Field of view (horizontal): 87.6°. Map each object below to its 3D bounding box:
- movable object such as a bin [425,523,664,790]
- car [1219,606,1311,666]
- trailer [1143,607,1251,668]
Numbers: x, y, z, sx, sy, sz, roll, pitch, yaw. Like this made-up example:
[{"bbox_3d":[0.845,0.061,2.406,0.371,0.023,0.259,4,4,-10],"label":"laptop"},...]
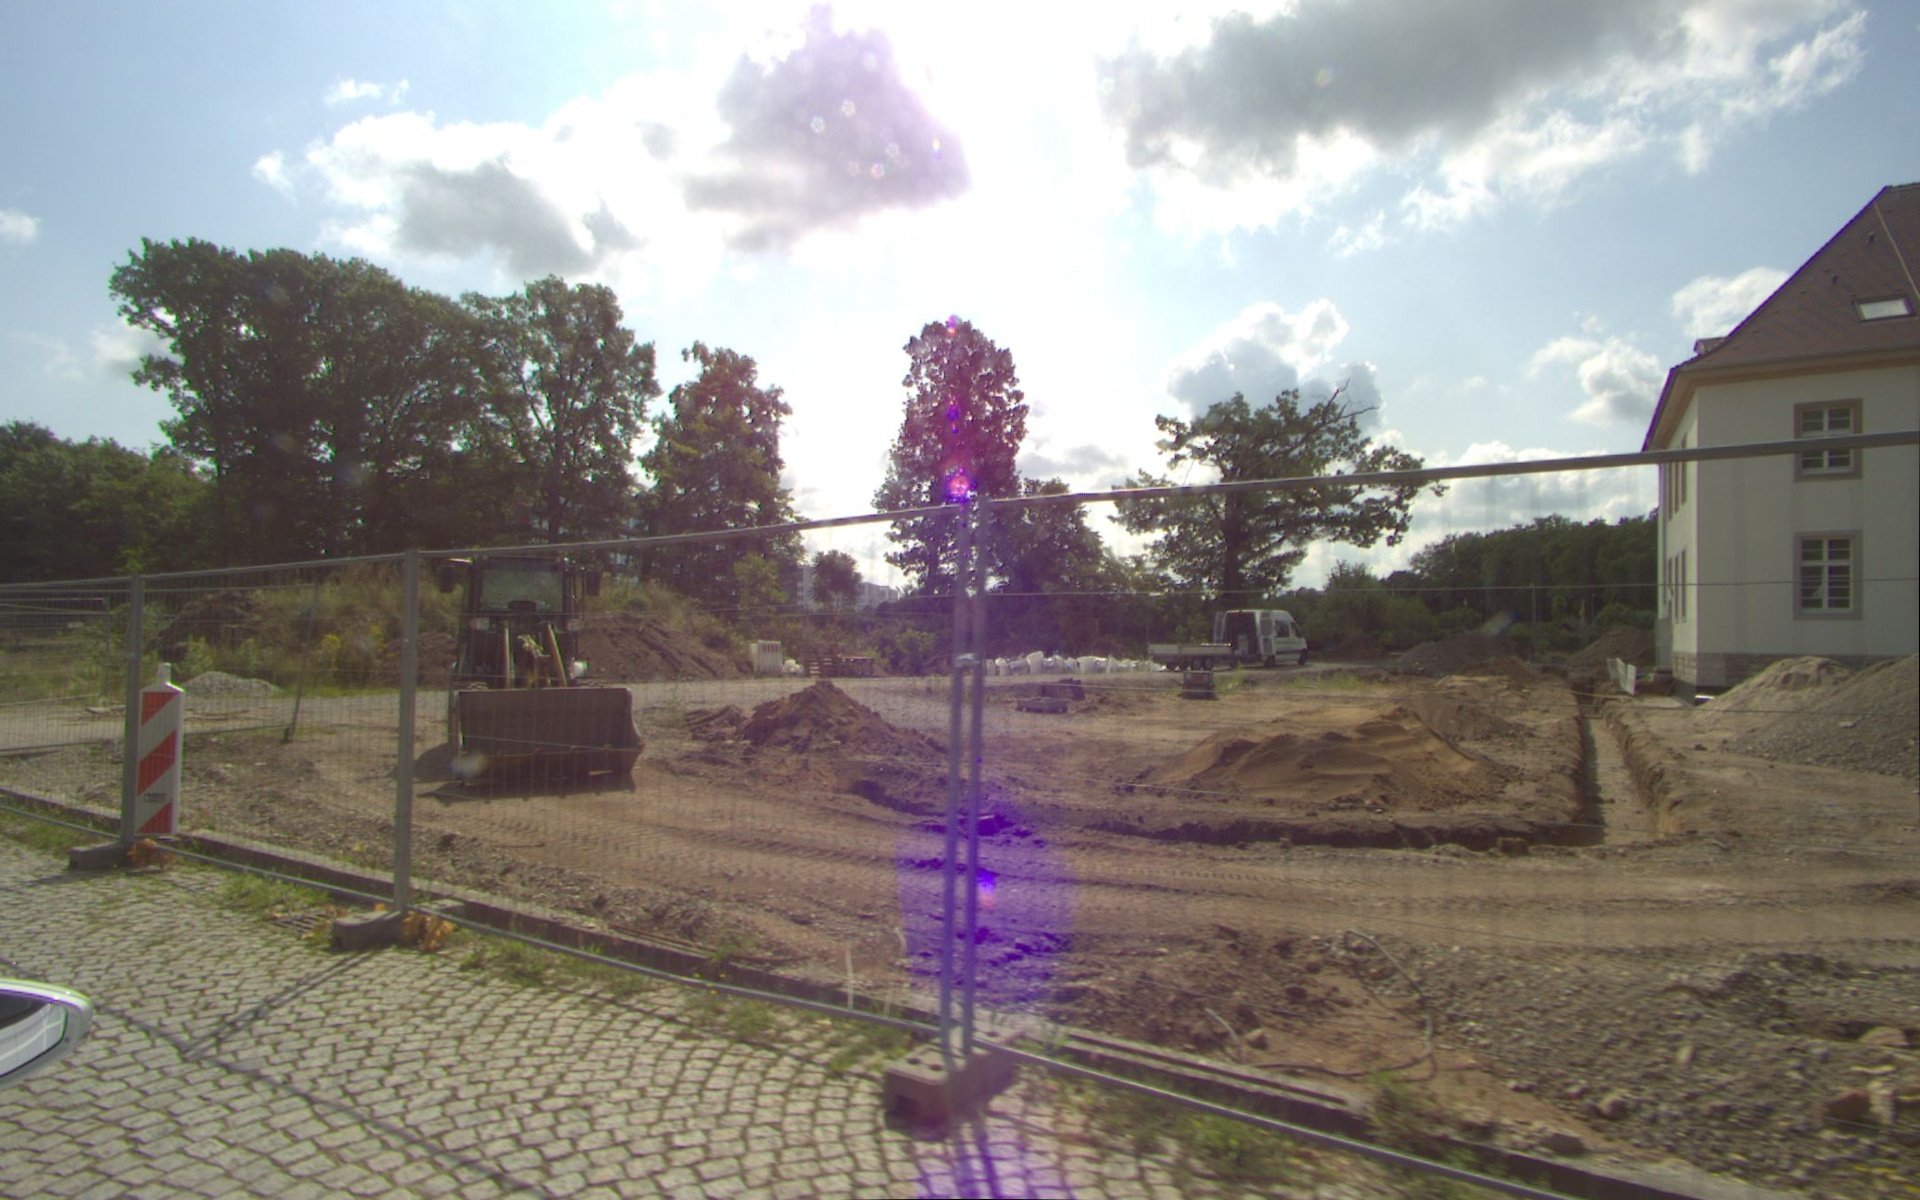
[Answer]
[{"bbox_3d":[-5.440,0.573,12.564,2.119,2.555,5.627,1,-1,-29],"label":"movable object such as a bin"},{"bbox_3d":[14.292,1.657,46.689,2.220,2.624,5.398,-1,-2,40],"label":"car"},{"bbox_3d":[10.274,1.622,43.260,4.785,2.504,1.947,1,-2,-36],"label":"trailer"}]
